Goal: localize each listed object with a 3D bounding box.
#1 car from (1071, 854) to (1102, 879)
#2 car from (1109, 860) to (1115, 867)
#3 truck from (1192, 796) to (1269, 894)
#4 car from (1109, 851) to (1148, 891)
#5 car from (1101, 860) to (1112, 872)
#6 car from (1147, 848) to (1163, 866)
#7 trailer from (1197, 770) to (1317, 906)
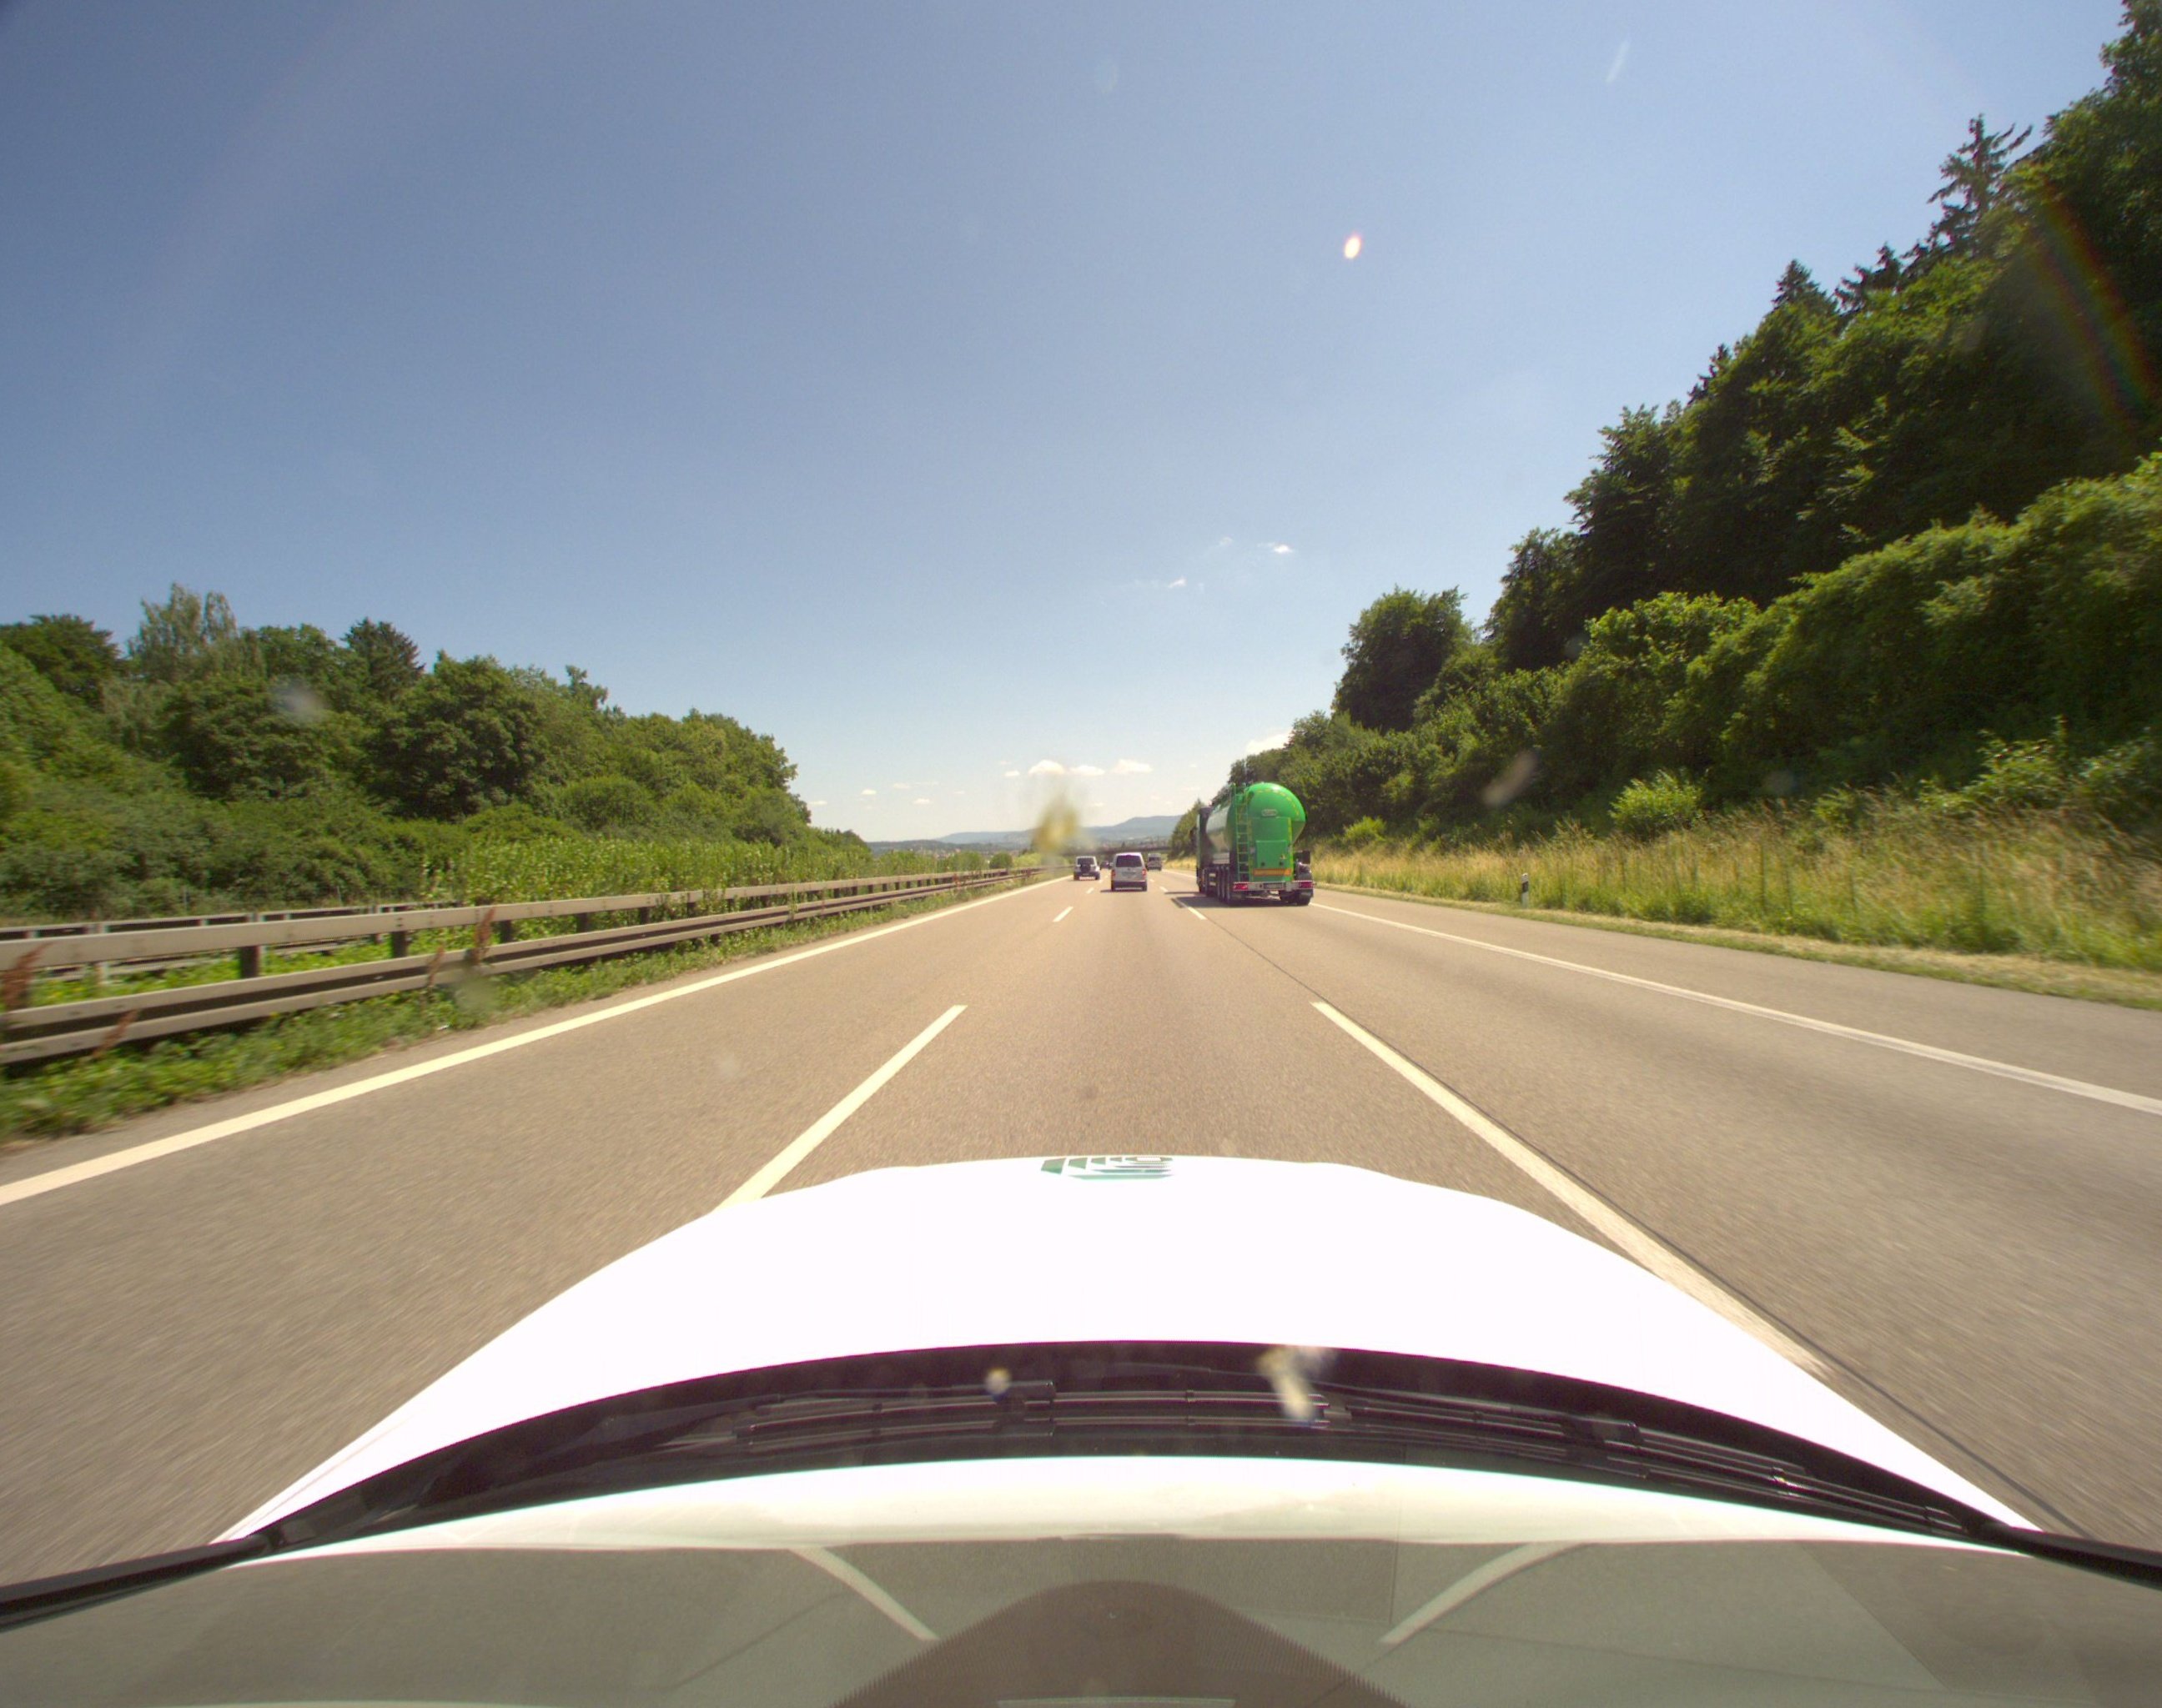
[{"bbox_3d":[0.499,0.957,64.327,2.074,1.829,4.759,-1,0,5],"label":"car"},{"bbox_3d":[8.448,2.569,220.956,1.690,2.013,3.826,-1,0,4],"label":"car"},{"bbox_3d":[6.271,-0.352,34.810,2.500,3.842,4.894,-1,0,2],"label":"truck"},{"bbox_3d":[2.284,0.809,40.340,1.739,1.829,4.802,-1,0,1],"label":"car"},{"bbox_3d":[4.703,2.216,151.050,1.985,2.013,4.003,-1,0,3],"label":"car"},{"bbox_3d":[10.819,0.436,119.455,2.080,2.576,6.629,-1,0,4],"label":"car"},{"bbox_3d":[6.006,-0.479,29.548,2.576,4.028,10.479,-1,0,3],"label":"trailer"}]
